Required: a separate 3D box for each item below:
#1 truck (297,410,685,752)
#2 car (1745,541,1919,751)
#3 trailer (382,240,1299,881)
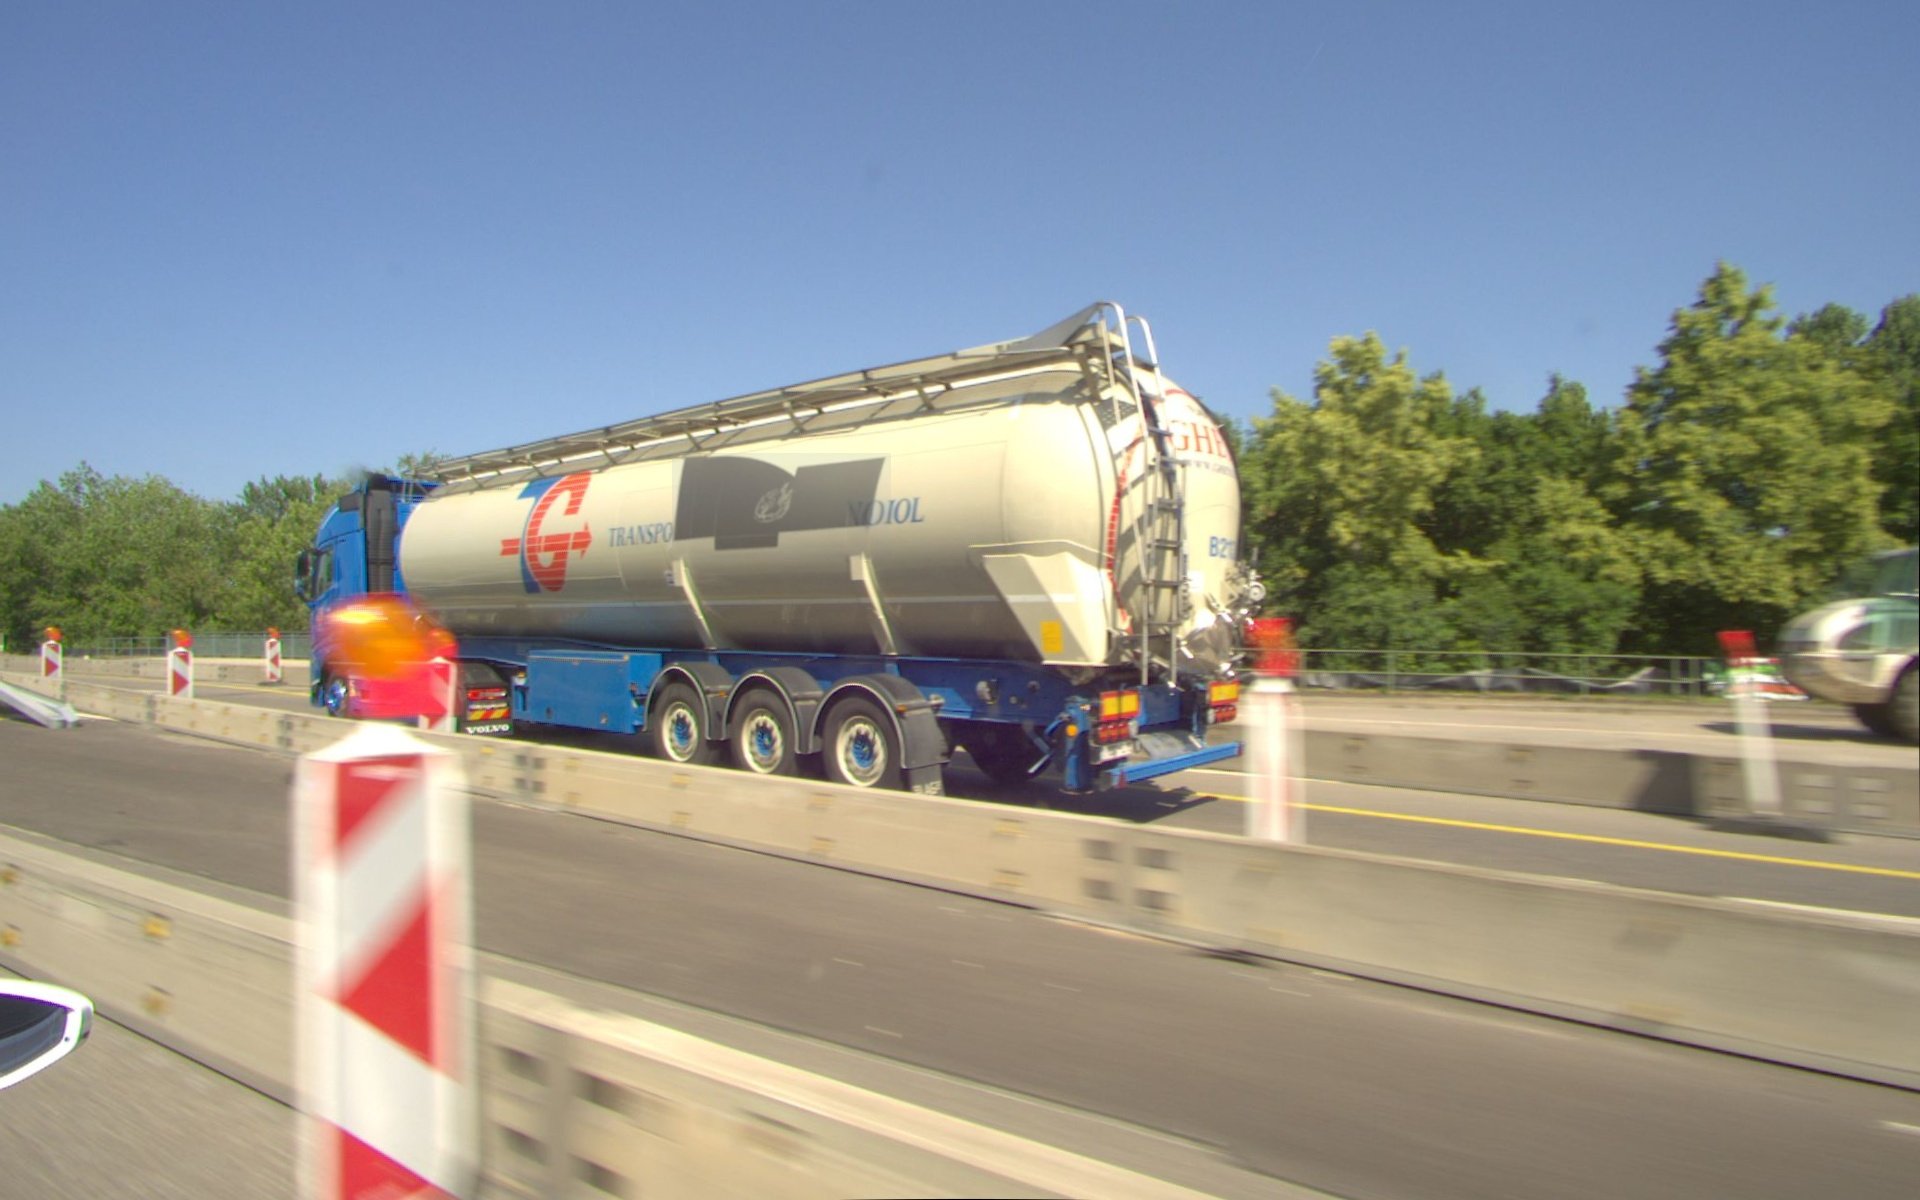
[{"bbox_3d":[-7.527,-0.153,15.538,7.214,4.156,2.682,-1,-1,40],"label":"truck"},{"bbox_3d":[14.164,0.579,13.020,5.890,2.676,2.103,-1,-1,27],"label":"car"},{"bbox_3d":[-2.717,-0.138,11.577,12.463,4.191,2.683,-1,-1,40],"label":"trailer"}]
